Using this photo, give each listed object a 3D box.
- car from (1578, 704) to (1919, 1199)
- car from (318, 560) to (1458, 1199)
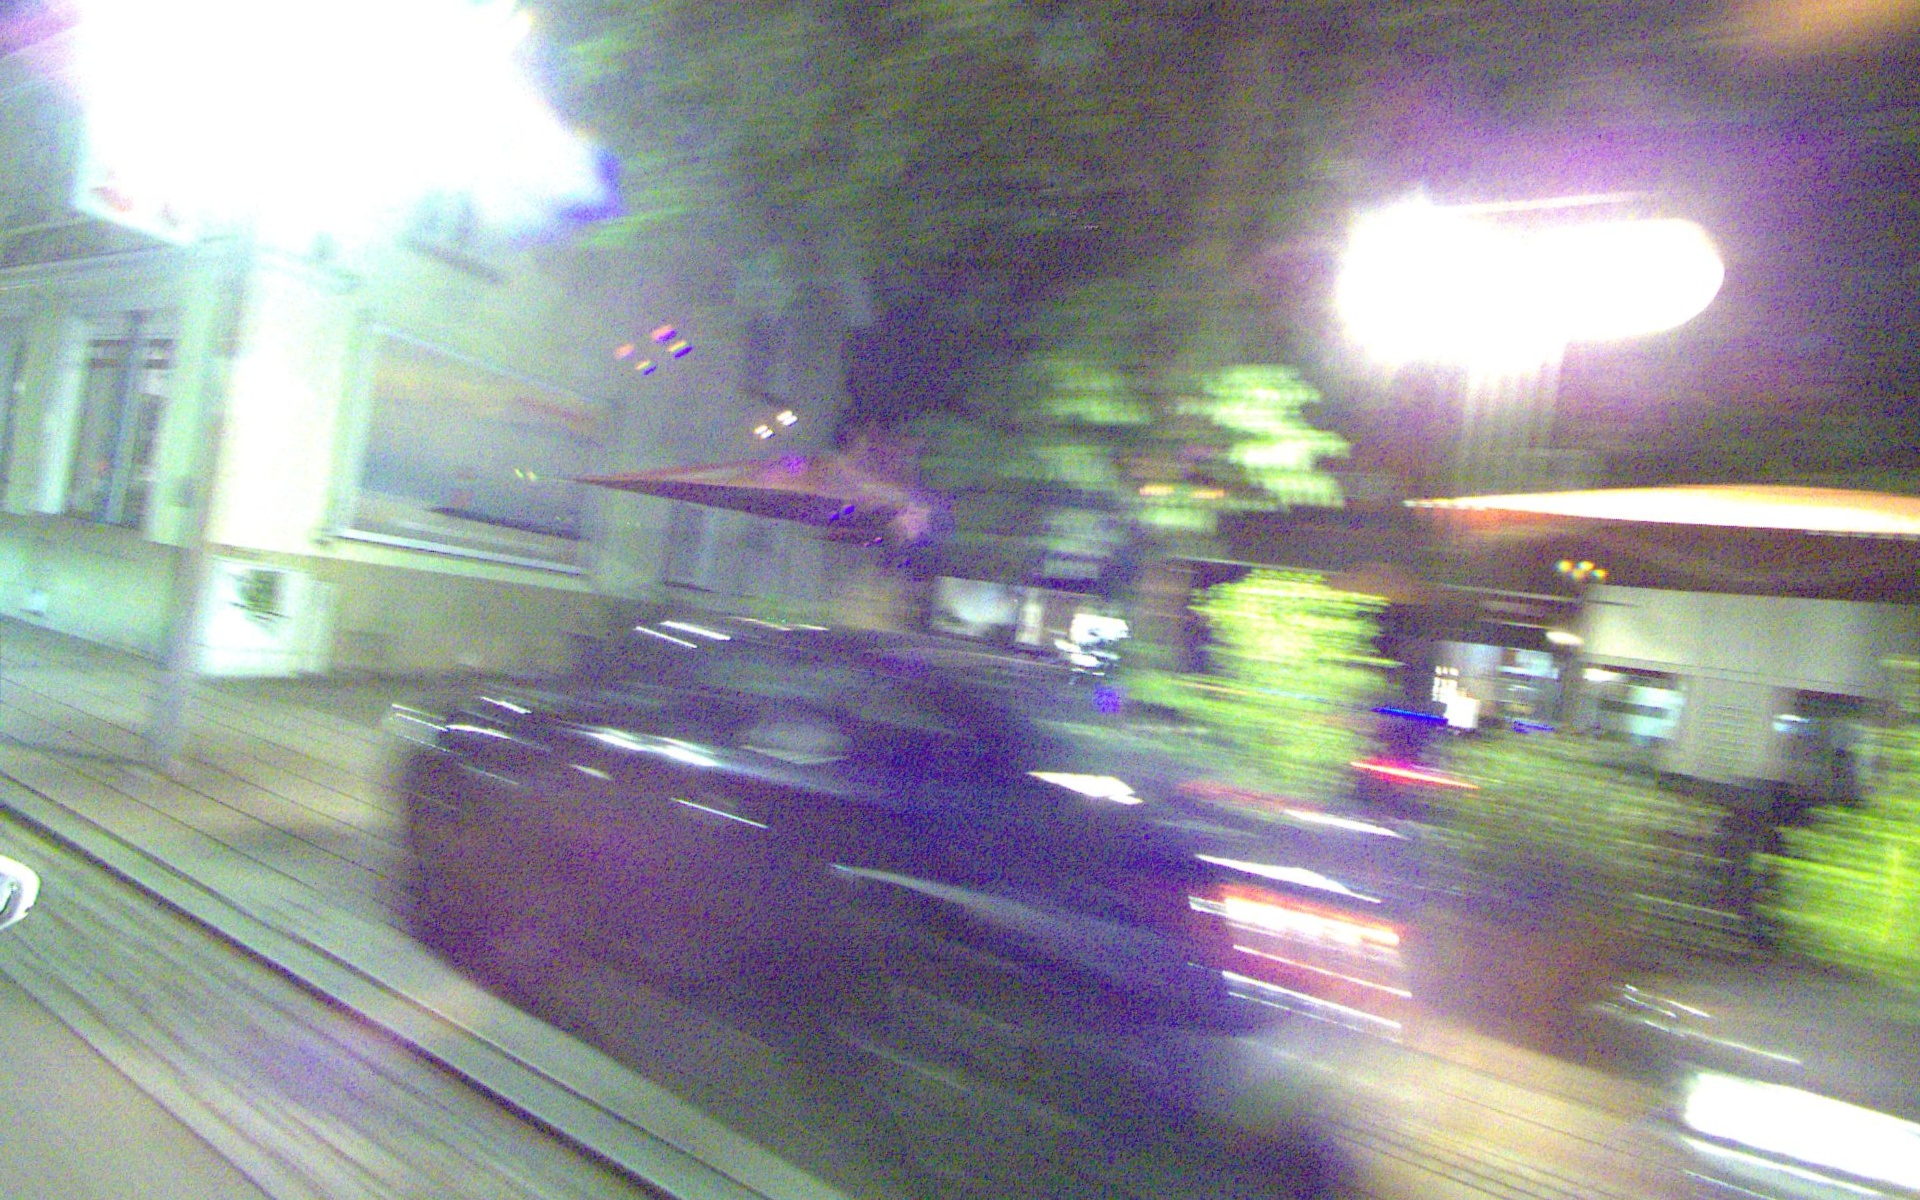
[{"bbox_3d":[3.348,1.222,1.165,4.395,1.482,1.754,7,1,34],"label":"car"},{"bbox_3d":[-0.537,0.789,3.806,4.038,1.395,1.662,7,1,34],"label":"car"}]
